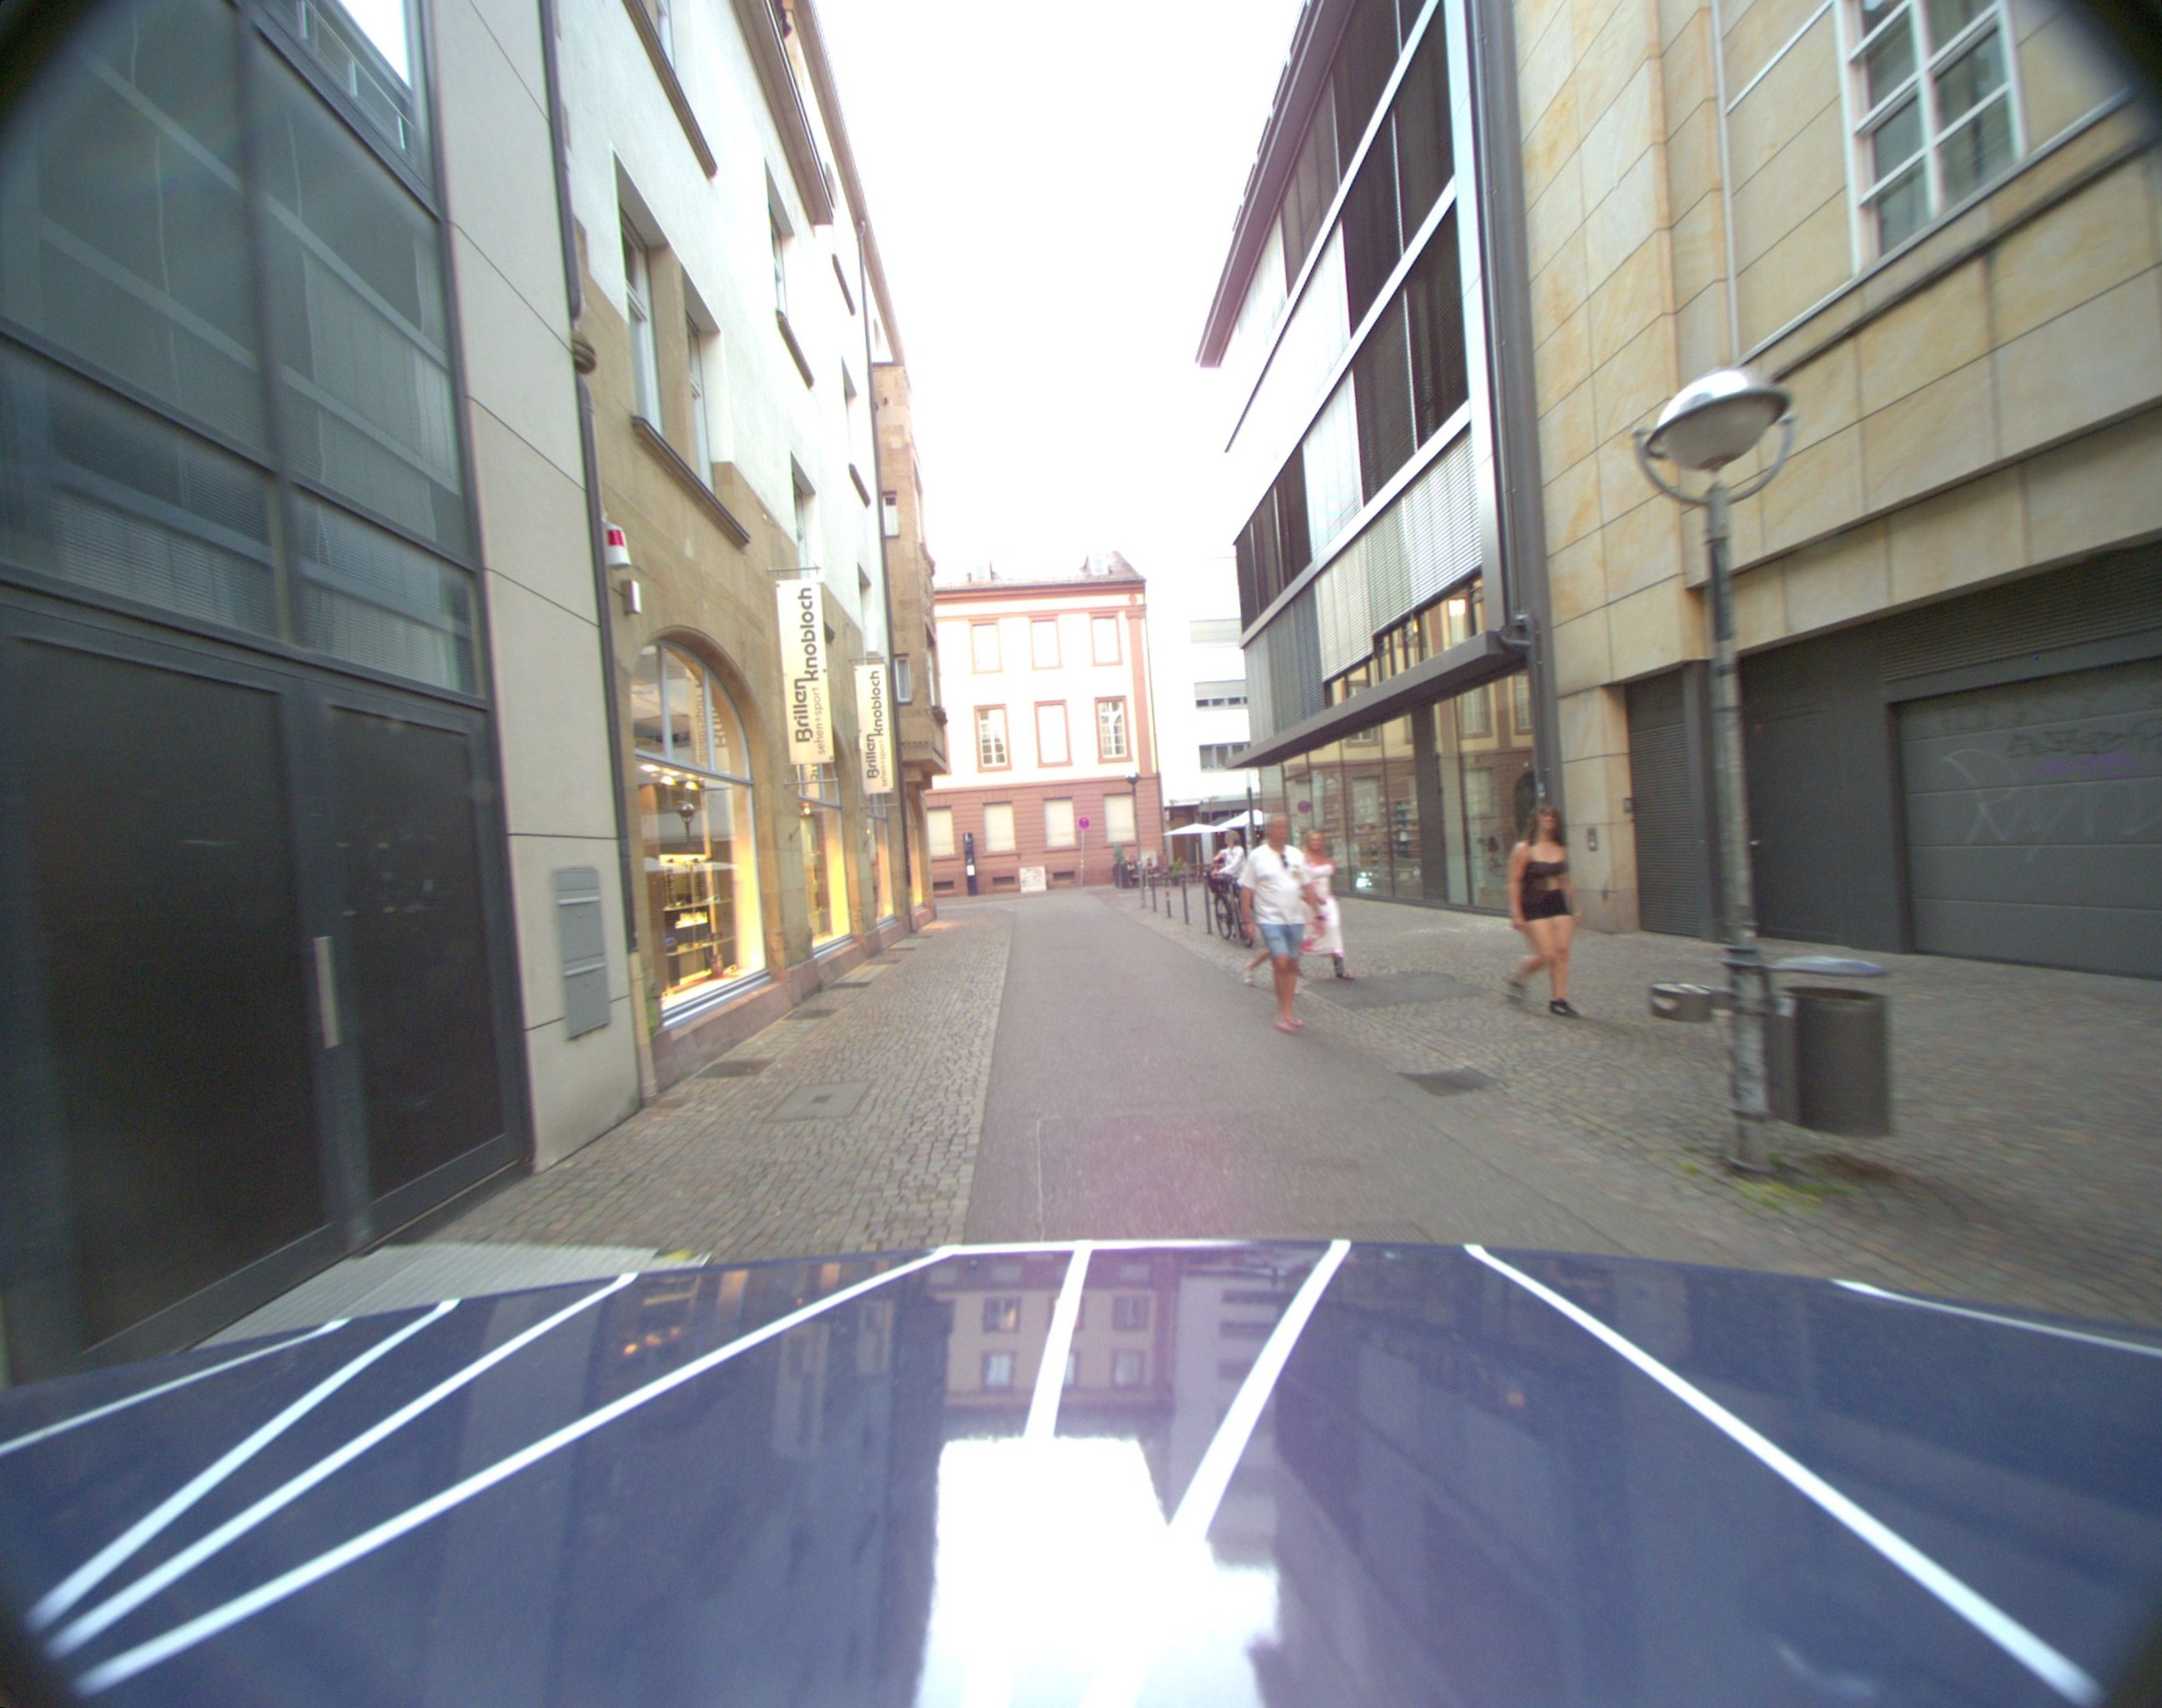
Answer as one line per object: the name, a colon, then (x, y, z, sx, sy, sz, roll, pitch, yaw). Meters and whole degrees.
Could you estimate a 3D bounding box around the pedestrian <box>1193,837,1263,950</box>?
pedestrian: (2.380, 0.629, 12.298, 0.771, 1.708, 0.590, -6, 1, -35)

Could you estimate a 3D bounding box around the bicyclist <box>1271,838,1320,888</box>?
bicyclist: (8.272, 0.346, 29.315, 1.469, 1.807, 0.923, -4, 0, -4)

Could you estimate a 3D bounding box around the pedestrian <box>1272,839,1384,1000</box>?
pedestrian: (2.747, 0.693, 8.497, 0.677, 1.655, 0.859, -5, 1, -28)

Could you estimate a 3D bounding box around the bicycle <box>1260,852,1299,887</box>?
bicycle: (6.869, 0.541, 26.388, 0.709, 1.106, 1.673, -4, -1, -5)

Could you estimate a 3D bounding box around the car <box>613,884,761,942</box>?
car: (-13.257, 1.973, 25.745, 3.998, 1.435, 1.649, -4, 3, -2)

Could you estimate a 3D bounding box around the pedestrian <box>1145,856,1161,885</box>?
pedestrian: (3.088, 0.694, 32.507, 0.549, 1.204, 0.524, -4, 1, -2)

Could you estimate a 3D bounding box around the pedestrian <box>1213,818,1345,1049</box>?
pedestrian: (1.680, 0.641, 6.569, 0.744, 1.812, 0.878, -4, 1, -5)

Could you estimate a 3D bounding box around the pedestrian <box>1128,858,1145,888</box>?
pedestrian: (2.292, 0.770, 31.214, 0.562, 1.204, 0.461, -4, 1, -2)

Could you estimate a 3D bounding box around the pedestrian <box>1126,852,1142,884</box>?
pedestrian: (2.280, 0.584, 32.792, 0.549, 1.341, 0.489, -4, 1, -2)

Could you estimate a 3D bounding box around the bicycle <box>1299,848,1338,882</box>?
bicycle: (8.368, 0.398, 26.845, 0.609, 1.143, 1.841, -4, -1, -5)

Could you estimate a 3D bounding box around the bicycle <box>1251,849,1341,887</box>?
bicycle: (8.270, 0.529, 29.318, 3.156, 1.252, 0.923, -4, 0, -4)

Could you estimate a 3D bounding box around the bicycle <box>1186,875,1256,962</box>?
bicycle: (2.141, 0.951, 11.845, 0.534, 1.147, 1.914, -6, 1, -3)

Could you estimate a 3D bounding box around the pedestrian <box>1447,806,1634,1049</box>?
pedestrian: (3.725, 0.550, 6.235, 0.787, 1.785, 0.971, -4, 1, -10)

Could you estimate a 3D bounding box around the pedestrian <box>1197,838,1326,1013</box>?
pedestrian: (1.934, 0.727, 8.210, 0.810, 1.719, 0.946, -5, 1, -31)
